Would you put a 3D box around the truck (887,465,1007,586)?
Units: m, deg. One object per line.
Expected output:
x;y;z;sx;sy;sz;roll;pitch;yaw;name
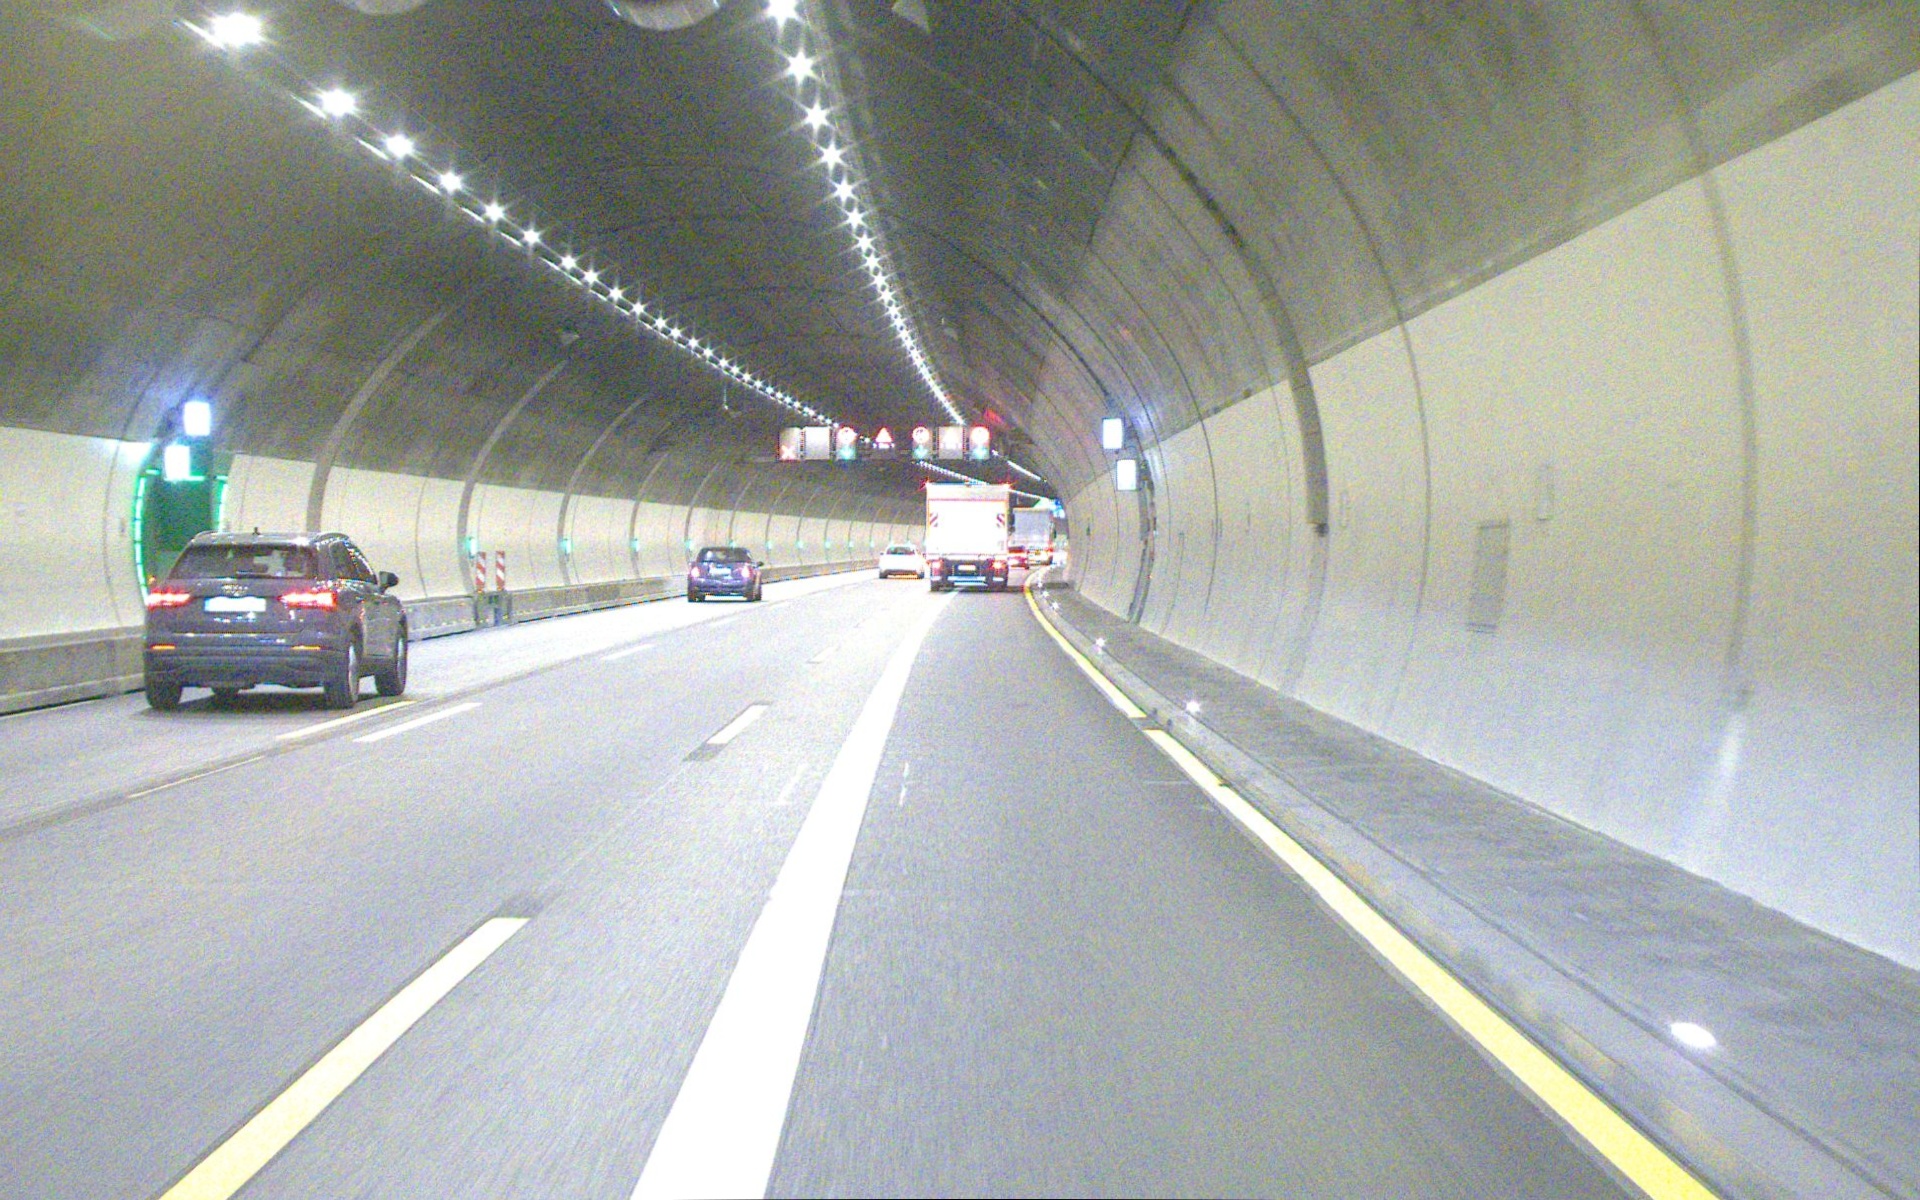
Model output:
-0.507;-2.501;112.160;3.592;3.637;10.724;-2;2;-1;truck

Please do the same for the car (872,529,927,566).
-2.560;-2.244;146.377;1.994;1.408;4.743;-2;2;2;car

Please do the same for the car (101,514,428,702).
-6.307;0.010;31.734;1.993;1.535;4.743;-2;2;0;car

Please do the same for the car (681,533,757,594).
-6.113;-0.949;87.357;1.689;1.412;3.923;-2;2;-1;car
